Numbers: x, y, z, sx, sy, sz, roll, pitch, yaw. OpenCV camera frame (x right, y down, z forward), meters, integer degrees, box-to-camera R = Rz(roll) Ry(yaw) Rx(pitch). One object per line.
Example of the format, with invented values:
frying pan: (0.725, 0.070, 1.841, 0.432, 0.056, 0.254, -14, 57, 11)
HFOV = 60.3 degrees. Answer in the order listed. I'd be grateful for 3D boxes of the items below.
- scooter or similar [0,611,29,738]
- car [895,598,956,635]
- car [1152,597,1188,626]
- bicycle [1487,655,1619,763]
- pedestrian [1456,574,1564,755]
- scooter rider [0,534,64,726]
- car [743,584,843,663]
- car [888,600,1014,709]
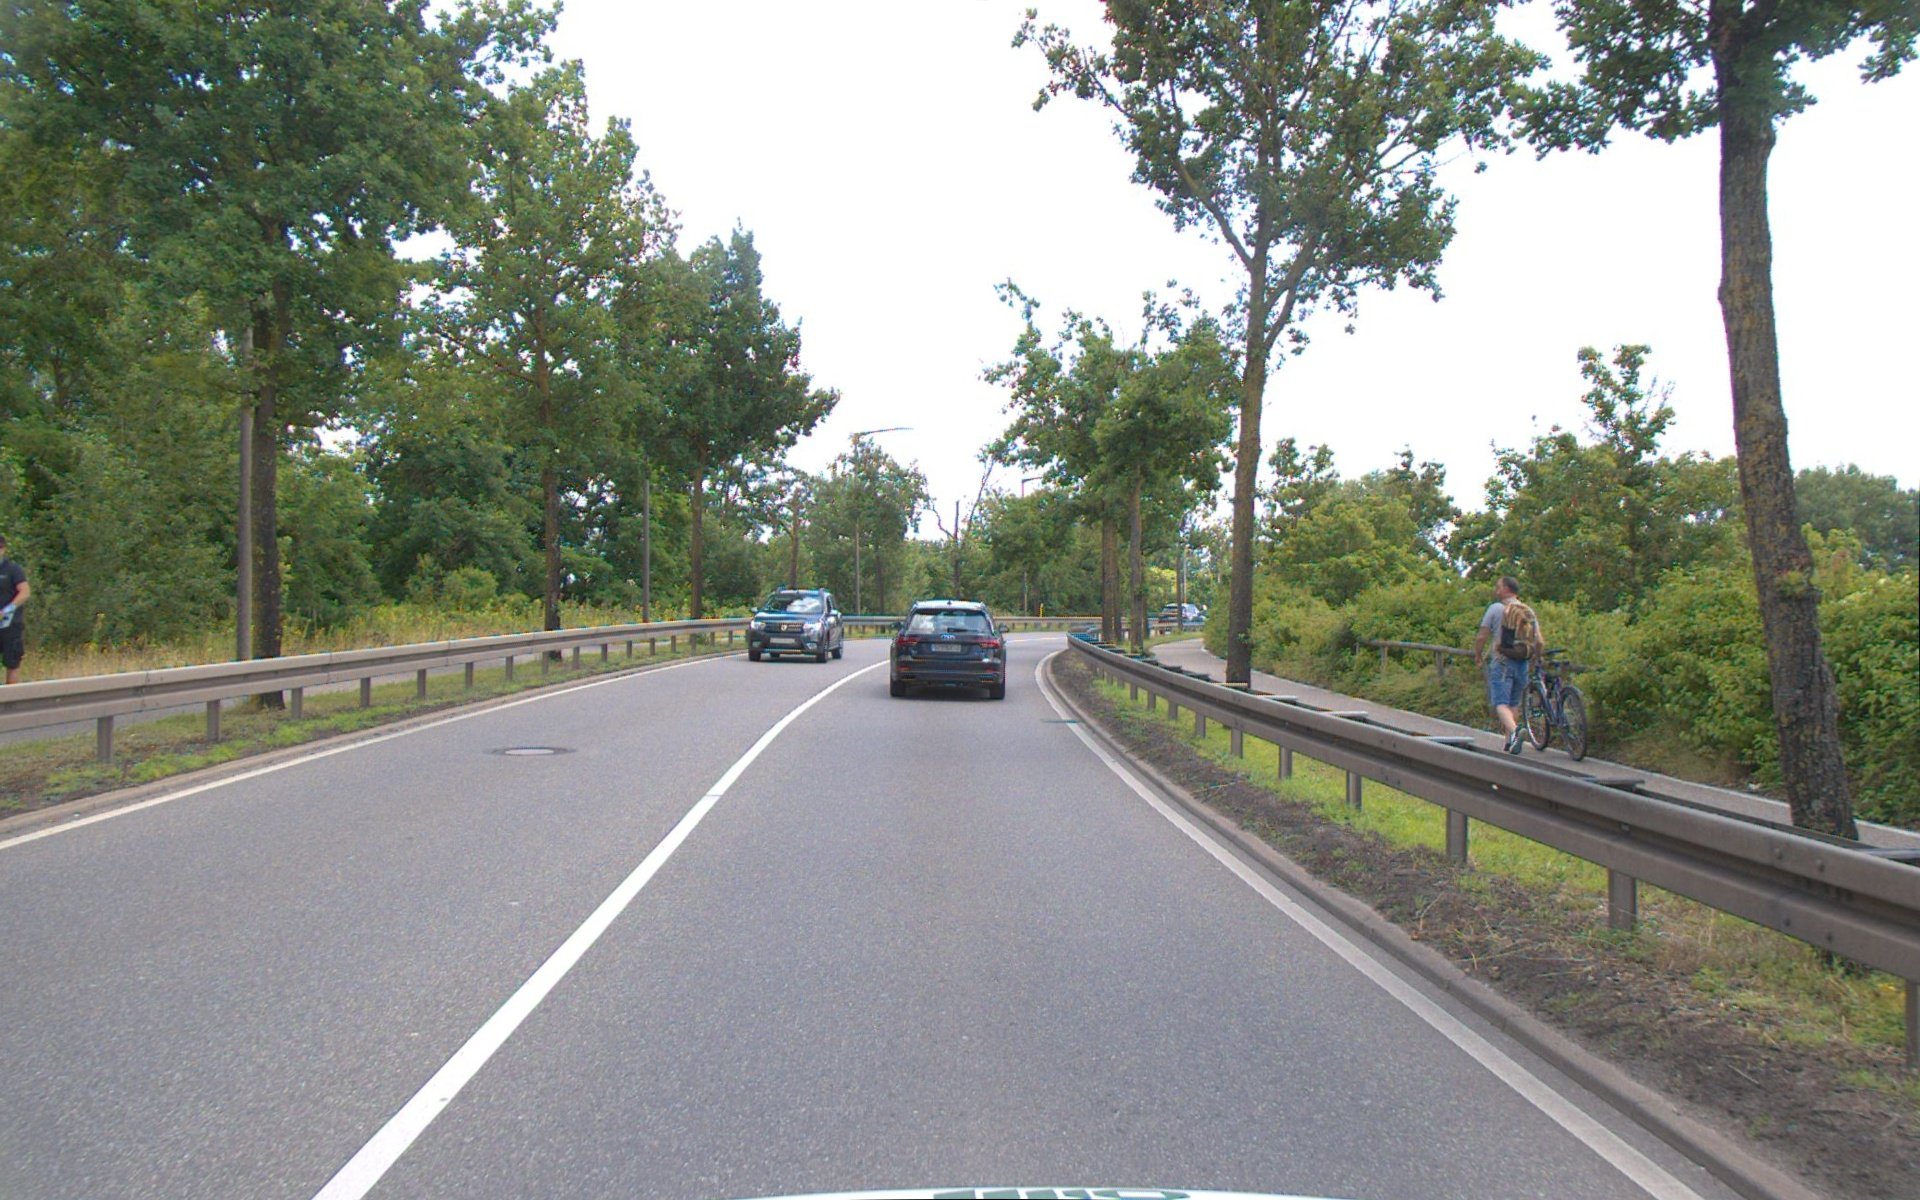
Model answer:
scooter or similar: (-9.679, 0.731, 16.337, 0.622, 1.228, 0.558, -1, 0, -3)
car: (-1.241, 0.597, 61.038, 1.558, 1.239, 3.793, 3, 0, 9)
car: (11.504, 0.606, 90.449, 1.545, 1.546, 4.003, 0, 0, 14)
bicycle: (5.585, 1.003, 15.681, 0.545, 0.884, 1.825, -1, 0, -1)
pedestrian: (5.272, 0.604, 15.918, 0.644, 1.671, 1.054, -1, 0, -1)
scooter rider: (-9.516, 0.297, 16.623, 0.648, 1.889, 0.619, -1, 0, -2)
car: (-3.668, 0.490, 36.970, 1.744, 1.635, 4.158, 1, 0, 1)
car: (-0.107, 0.794, 26.102, 1.790, 1.518, 4.207, 2, 0, 0)
